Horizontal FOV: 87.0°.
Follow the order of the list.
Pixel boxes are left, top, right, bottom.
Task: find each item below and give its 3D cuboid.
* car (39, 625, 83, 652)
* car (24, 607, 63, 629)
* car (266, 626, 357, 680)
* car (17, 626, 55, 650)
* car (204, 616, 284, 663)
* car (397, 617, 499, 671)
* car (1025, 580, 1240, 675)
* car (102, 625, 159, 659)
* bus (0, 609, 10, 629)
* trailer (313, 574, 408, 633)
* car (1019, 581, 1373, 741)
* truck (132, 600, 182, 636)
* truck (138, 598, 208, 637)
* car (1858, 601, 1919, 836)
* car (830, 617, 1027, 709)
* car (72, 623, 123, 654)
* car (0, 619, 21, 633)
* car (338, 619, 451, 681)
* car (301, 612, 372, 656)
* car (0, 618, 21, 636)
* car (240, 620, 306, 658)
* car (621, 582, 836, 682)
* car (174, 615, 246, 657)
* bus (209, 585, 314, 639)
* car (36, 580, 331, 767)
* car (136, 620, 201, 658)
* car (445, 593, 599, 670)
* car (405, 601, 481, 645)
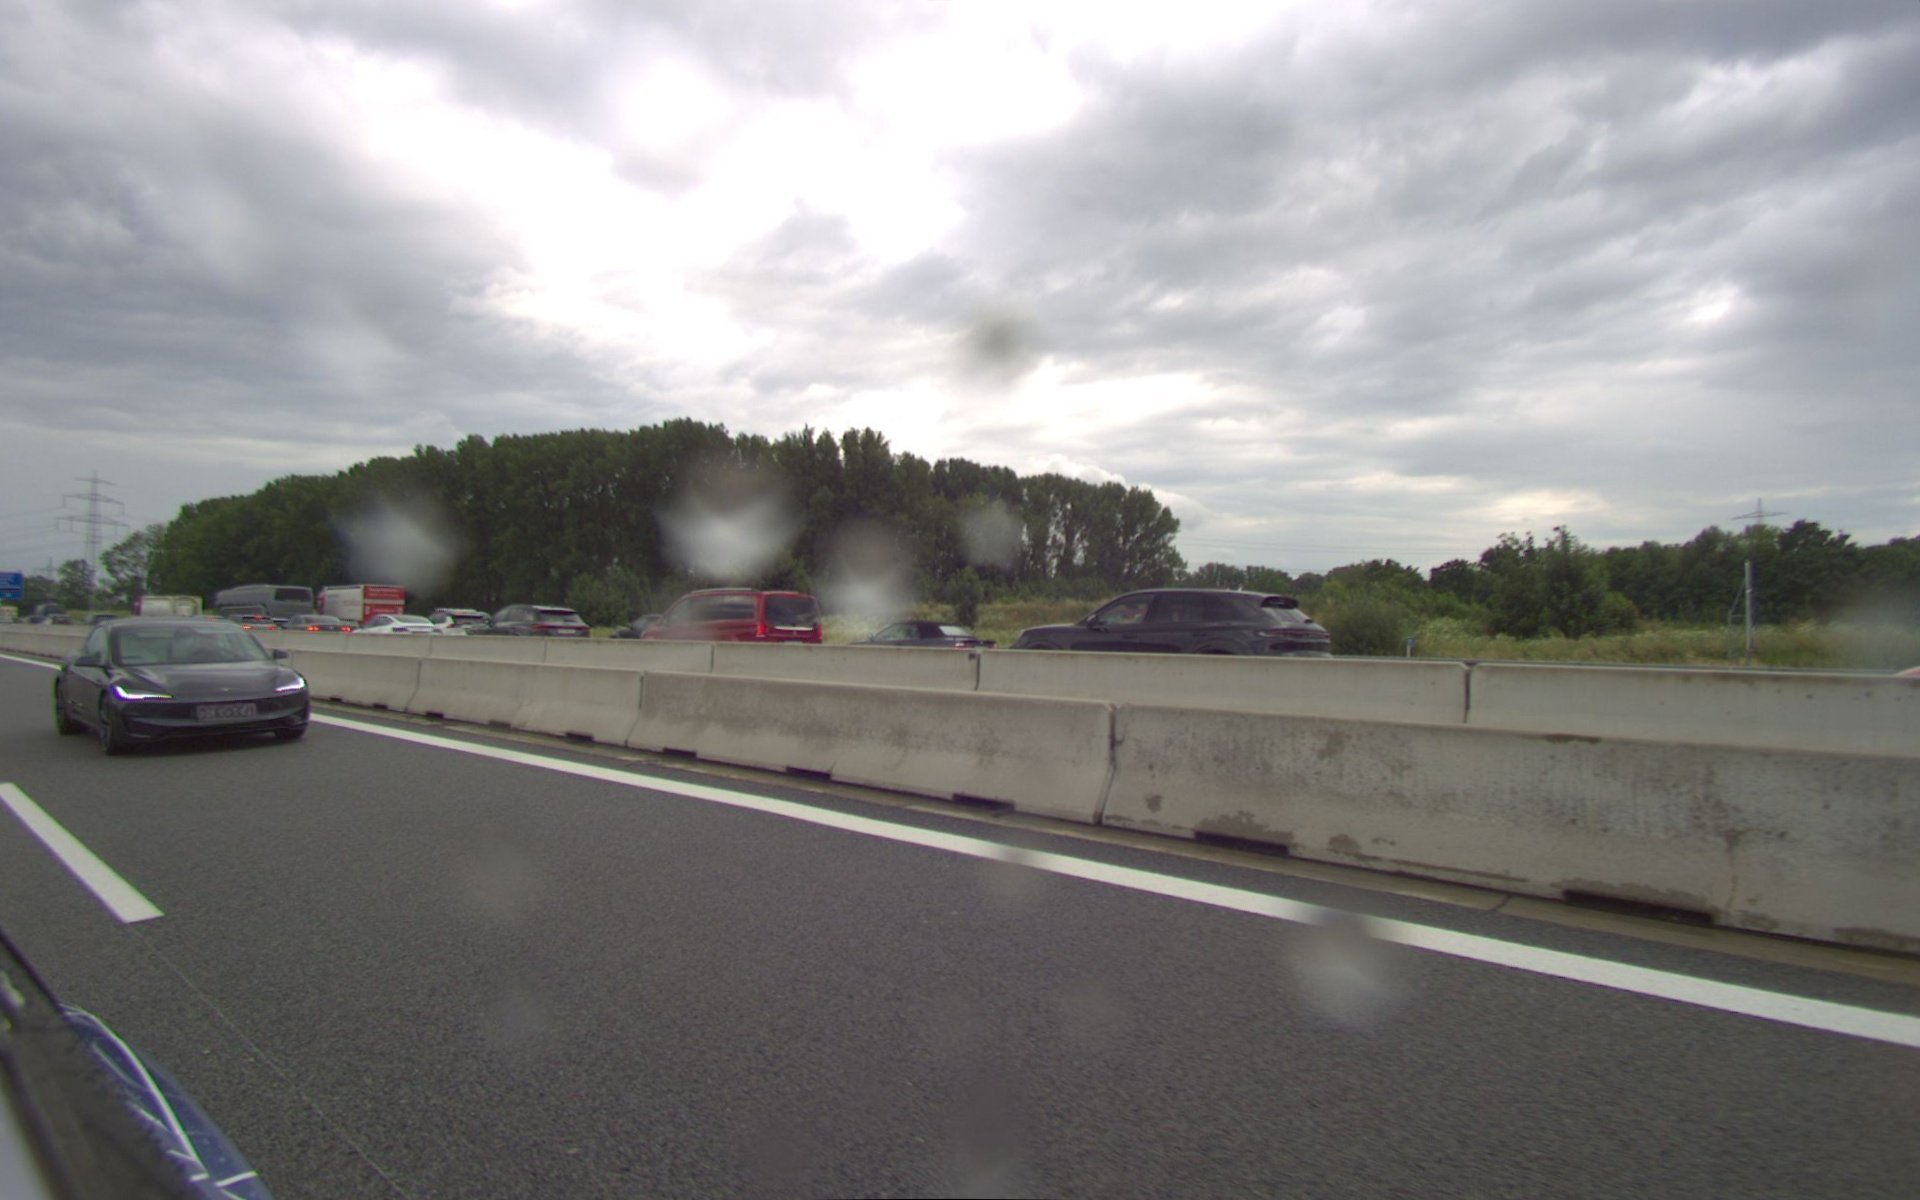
[{"bbox_3d":[-69.082,2.918,77.730,4.694,1.982,1.973,-1,-1,41],"label":"car"},{"bbox_3d":[-95.566,1.874,105.509,6.813,2.181,2.235,-1,-1,41],"label":"car"},{"bbox_3d":[-26.208,2.094,40.837,4.347,2.029,1.973,-1,-1,41],"label":"car"},{"bbox_3d":[-81.625,3.320,89.353,4.694,1.982,1.973,-1,-1,41],"label":"car"},{"bbox_3d":[-33.163,1.796,46.829,4.694,2.029,1.973,-1,-1,41],"label":"car"},{"bbox_3d":[-20.723,1.717,40.874,4.969,2.029,1.973,-1,-1,41],"label":"car"},{"bbox_3d":[4.003,0.621,23.955,4.684,2.029,1.973,-1,-1,41],"label":"car"},{"bbox_3d":[-50.498,2.524,61.586,4.694,1.982,1.973,-1,-1,41],"label":"car"},{"bbox_3d":[-167.461,3.265,175.642,9.958,3.358,2.802,-1,-1,41],"label":"bus"},{"bbox_3d":[-41.185,0.319,69.369,9.156,3.791,2.830,-1,-2,41],"label":"trailer"},{"bbox_3d":[3.210,0.767,14.340,4.502,1.918,1.972,-1,-1,42],"label":"car"},{"bbox_3d":[-85.939,1.960,108.302,6.315,3.740,3.117,-1,-1,41],"label":"truck"},{"bbox_3d":[-81.101,1.828,104.119,13.291,3.774,3.116,-1,-1,41],"label":"truck"},{"bbox_3d":[10.442,0.993,8.177,4.684,2.029,1.973,-1,-1,41],"label":"car"},{"bbox_3d":[-0.809,1.386,23.706,4.472,1.914,1.973,-1,-1,41],"label":"car"},{"bbox_3d":[-58.510,2.570,68.628,4.694,1.982,1.973,-1,-1,41],"label":"car"},{"bbox_3d":[-114.924,3.159,122.207,4.025,1.674,1.847,-1,-1,41],"label":"car"},{"bbox_3d":[-20.107,1.694,35.901,4.969,2.029,1.973,-1,-1,41],"label":"car"},{"bbox_3d":[-30.475,1.635,49.435,3.709,2.029,1.973,-1,-1,41],"label":"car"},{"bbox_3d":[-97.132,2.757,103.085,3.998,1.732,1.785,-1,-1,41],"label":"car"},{"bbox_3d":[-38.445,2.150,56.577,4.694,1.982,1.973,-1,-1,41],"label":"car"},{"bbox_3d":[-5.368,0.689,22.969,5.415,2.029,1.973,-1,-1,41],"label":"car"},{"bbox_3d":[-37.274,1.748,50.257,4.694,1.982,1.973,-1,-1,41],"label":"car"},{"bbox_3d":[-48.772,0.882,70.382,13.991,3.411,2.659,-1,-1,41],"label":"bus"},{"bbox_3d":[-9.665,0.763,12.408,5.161,1.834,1.972,-1,-1,42],"label":"car"},{"bbox_3d":[-43.447,2.112,55.506,4.694,1.982,1.973,-1,-1,41],"label":"car"},{"bbox_3d":[-12.735,0.879,29.249,5.415,2.029,1.973,-1,-1,41],"label":"car"},{"bbox_3d":[-25.546,1.128,49.988,3.998,2.029,1.973,-1,0,41],"label":"car"}]
